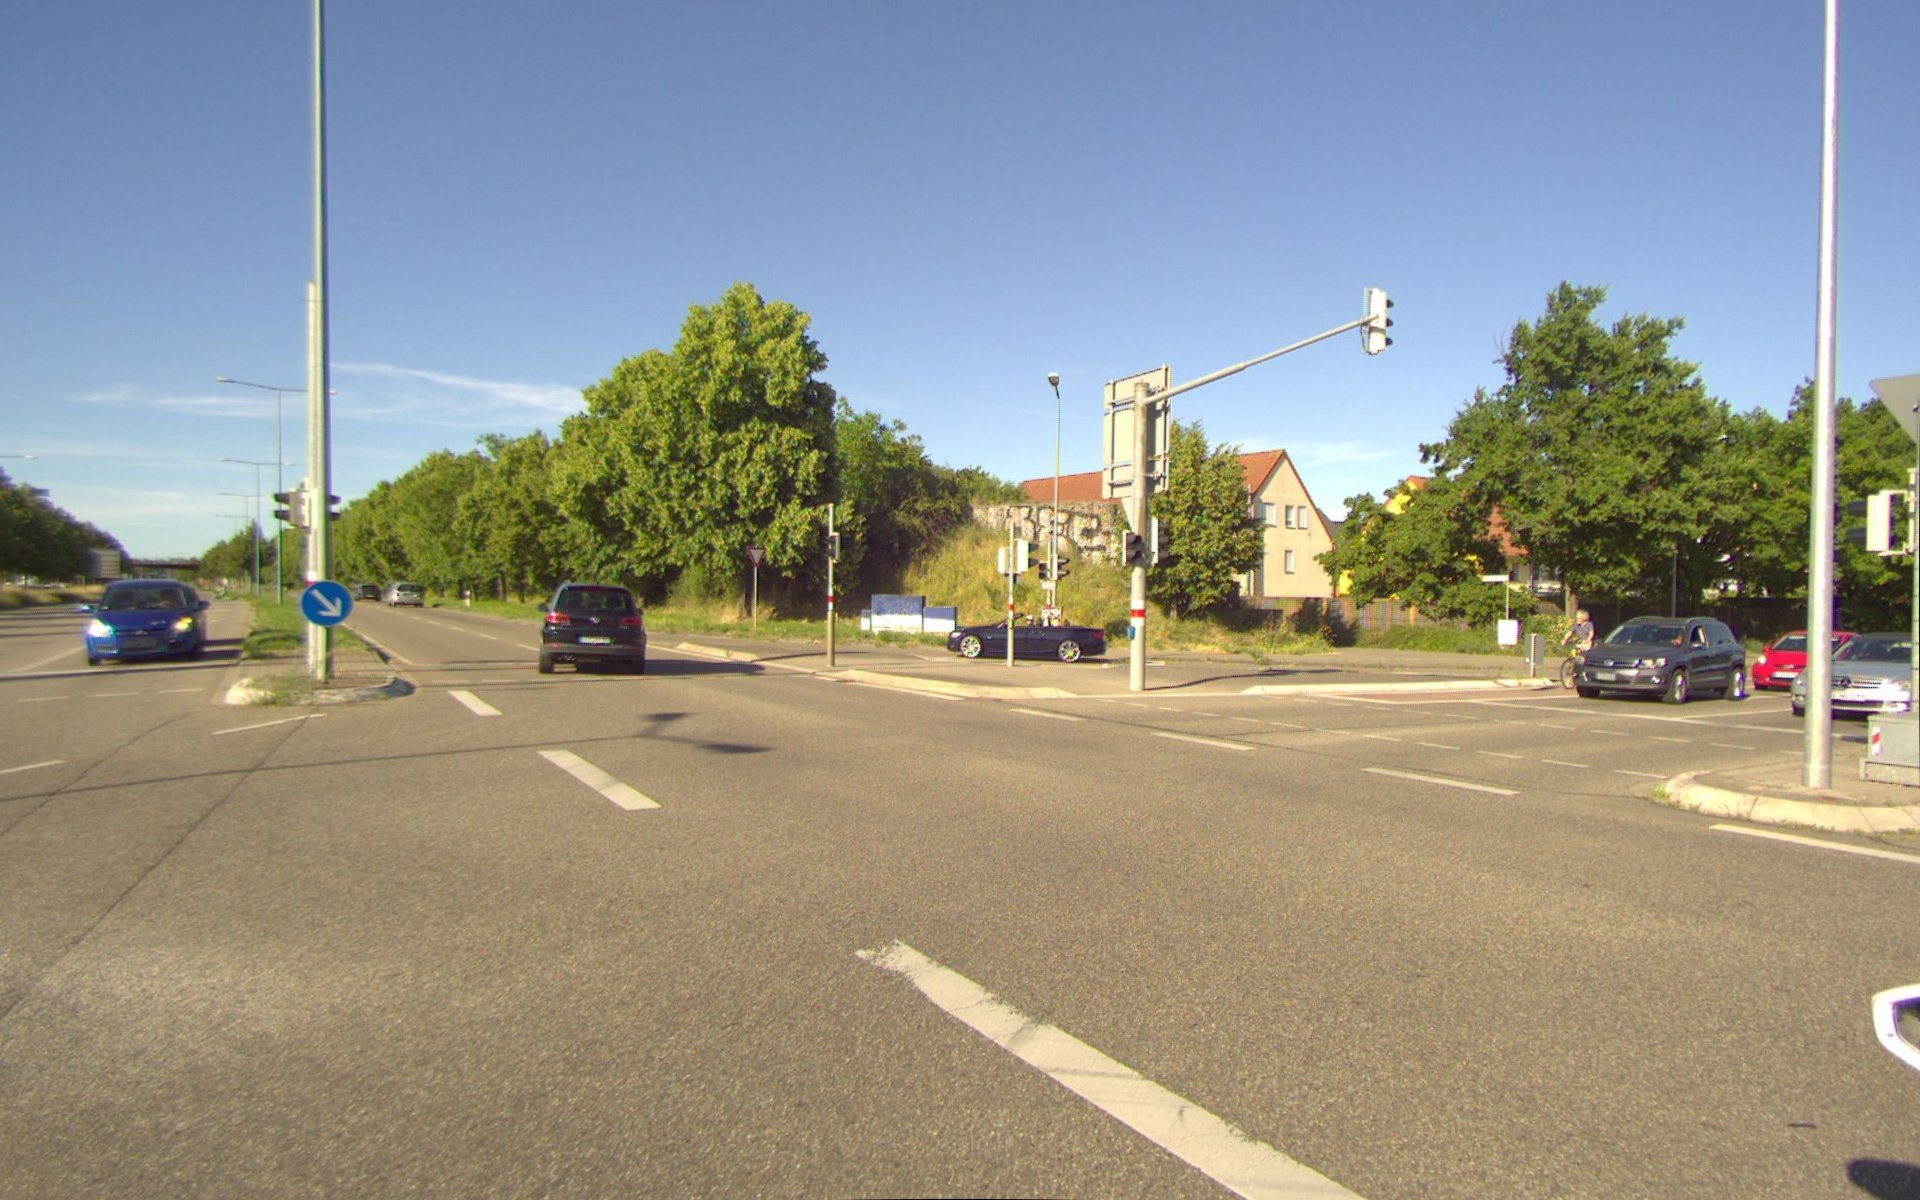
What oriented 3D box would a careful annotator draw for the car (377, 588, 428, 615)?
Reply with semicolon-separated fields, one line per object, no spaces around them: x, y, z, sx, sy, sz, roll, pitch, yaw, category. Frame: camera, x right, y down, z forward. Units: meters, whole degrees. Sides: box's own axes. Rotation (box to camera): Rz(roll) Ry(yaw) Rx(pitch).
-35.999;0.076;64.825;2.031;1.638;4.366;-3;2;-40;car

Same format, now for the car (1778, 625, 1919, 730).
16.158;1.241;17.335;4.479;1.526;1.784;0;0;-32;car

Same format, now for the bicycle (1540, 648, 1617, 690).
14.398;1.580;23.353;1.968;0.859;0.744;0;1;-33;bicycle

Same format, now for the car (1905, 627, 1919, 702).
21.234;1.310;20.610;3.844;1.503;1.738;0;0;-32;car

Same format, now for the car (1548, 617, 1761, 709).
14.331;1.208;20.672;4.479;1.666;1.983;0;0;-32;car

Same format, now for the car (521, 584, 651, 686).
-7.236;0.559;19.234;1.810;1.649;3.969;0;2;-28;car

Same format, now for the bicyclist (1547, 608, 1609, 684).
14.356;1.048;23.335;1.228;1.725;0.740;0;0;-32;bicyclist

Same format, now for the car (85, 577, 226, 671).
-16.023;0.405;20.202;1.874;1.666;4.000;-2;2;-35;car

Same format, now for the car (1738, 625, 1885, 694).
20.542;1.377;24.212;3.671;1.503;1.637;0;0;-32;car

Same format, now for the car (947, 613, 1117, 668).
2.059;1.127;28.481;4.588;1.327;2.049;2;-1;7;car

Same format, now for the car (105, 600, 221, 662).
-19.113;0.682;24.256;1.874;1.292;4.000;-2;2;-35;car
